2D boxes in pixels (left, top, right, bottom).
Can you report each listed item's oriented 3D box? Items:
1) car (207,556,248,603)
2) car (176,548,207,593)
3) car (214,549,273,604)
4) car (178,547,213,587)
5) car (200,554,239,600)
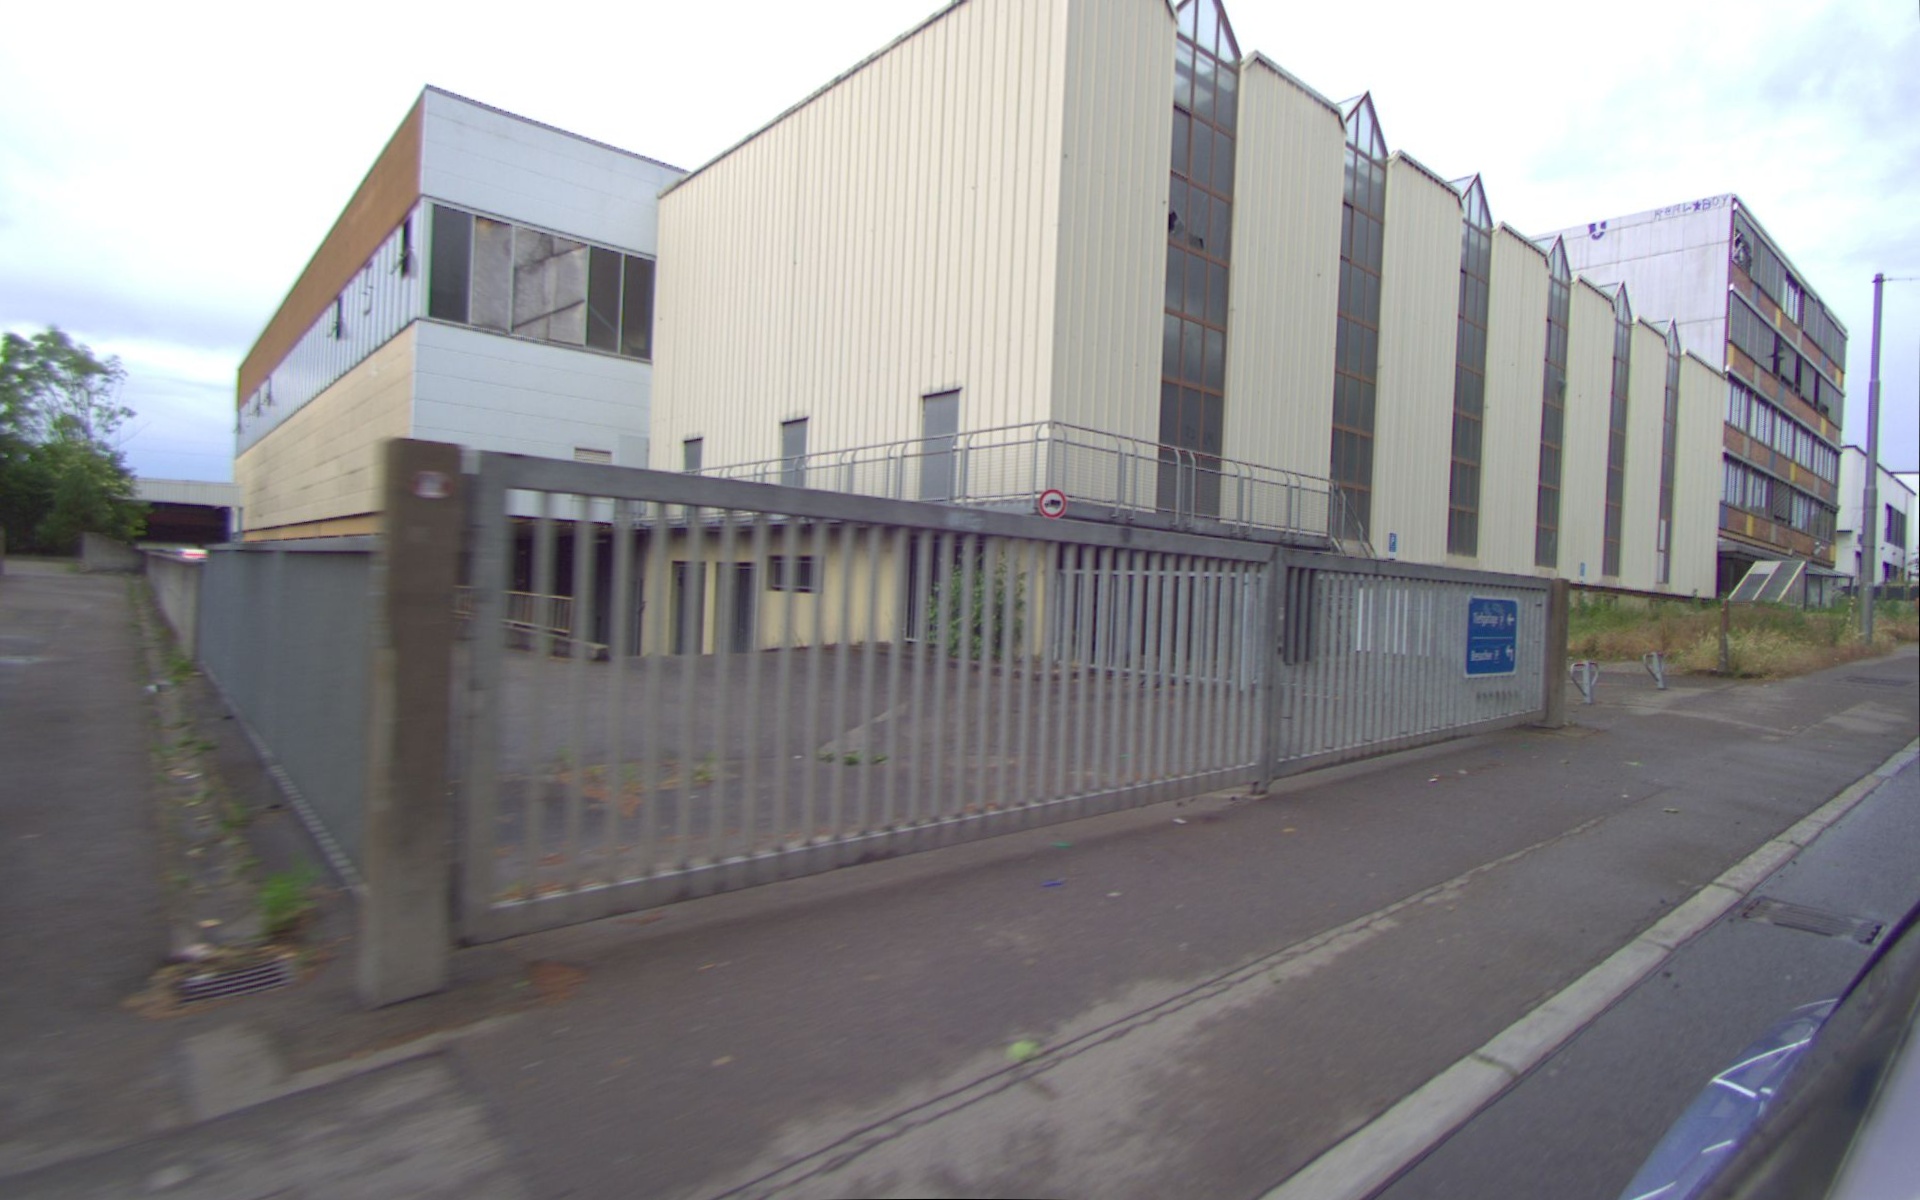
[{"bbox_3d":[-30.981,-0.841,42.765,1.347,1.922,3.295,0,0,-37],"label":"car"},{"bbox_3d":[-45.137,-1.670,59.398,1.348,2.545,4.432,-1,1,-38],"label":"car"},{"bbox_3d":[-28.211,-0.933,39.796,1.686,2.048,3.842,1,1,-38],"label":"car"},{"bbox_3d":[-40.227,-1.711,53.246,1.348,2.039,3.292,-1,1,-39],"label":"car"},{"bbox_3d":[-34.848,-1.075,47.617,1.417,2.100,3.295,-1,1,-37],"label":"car"}]
